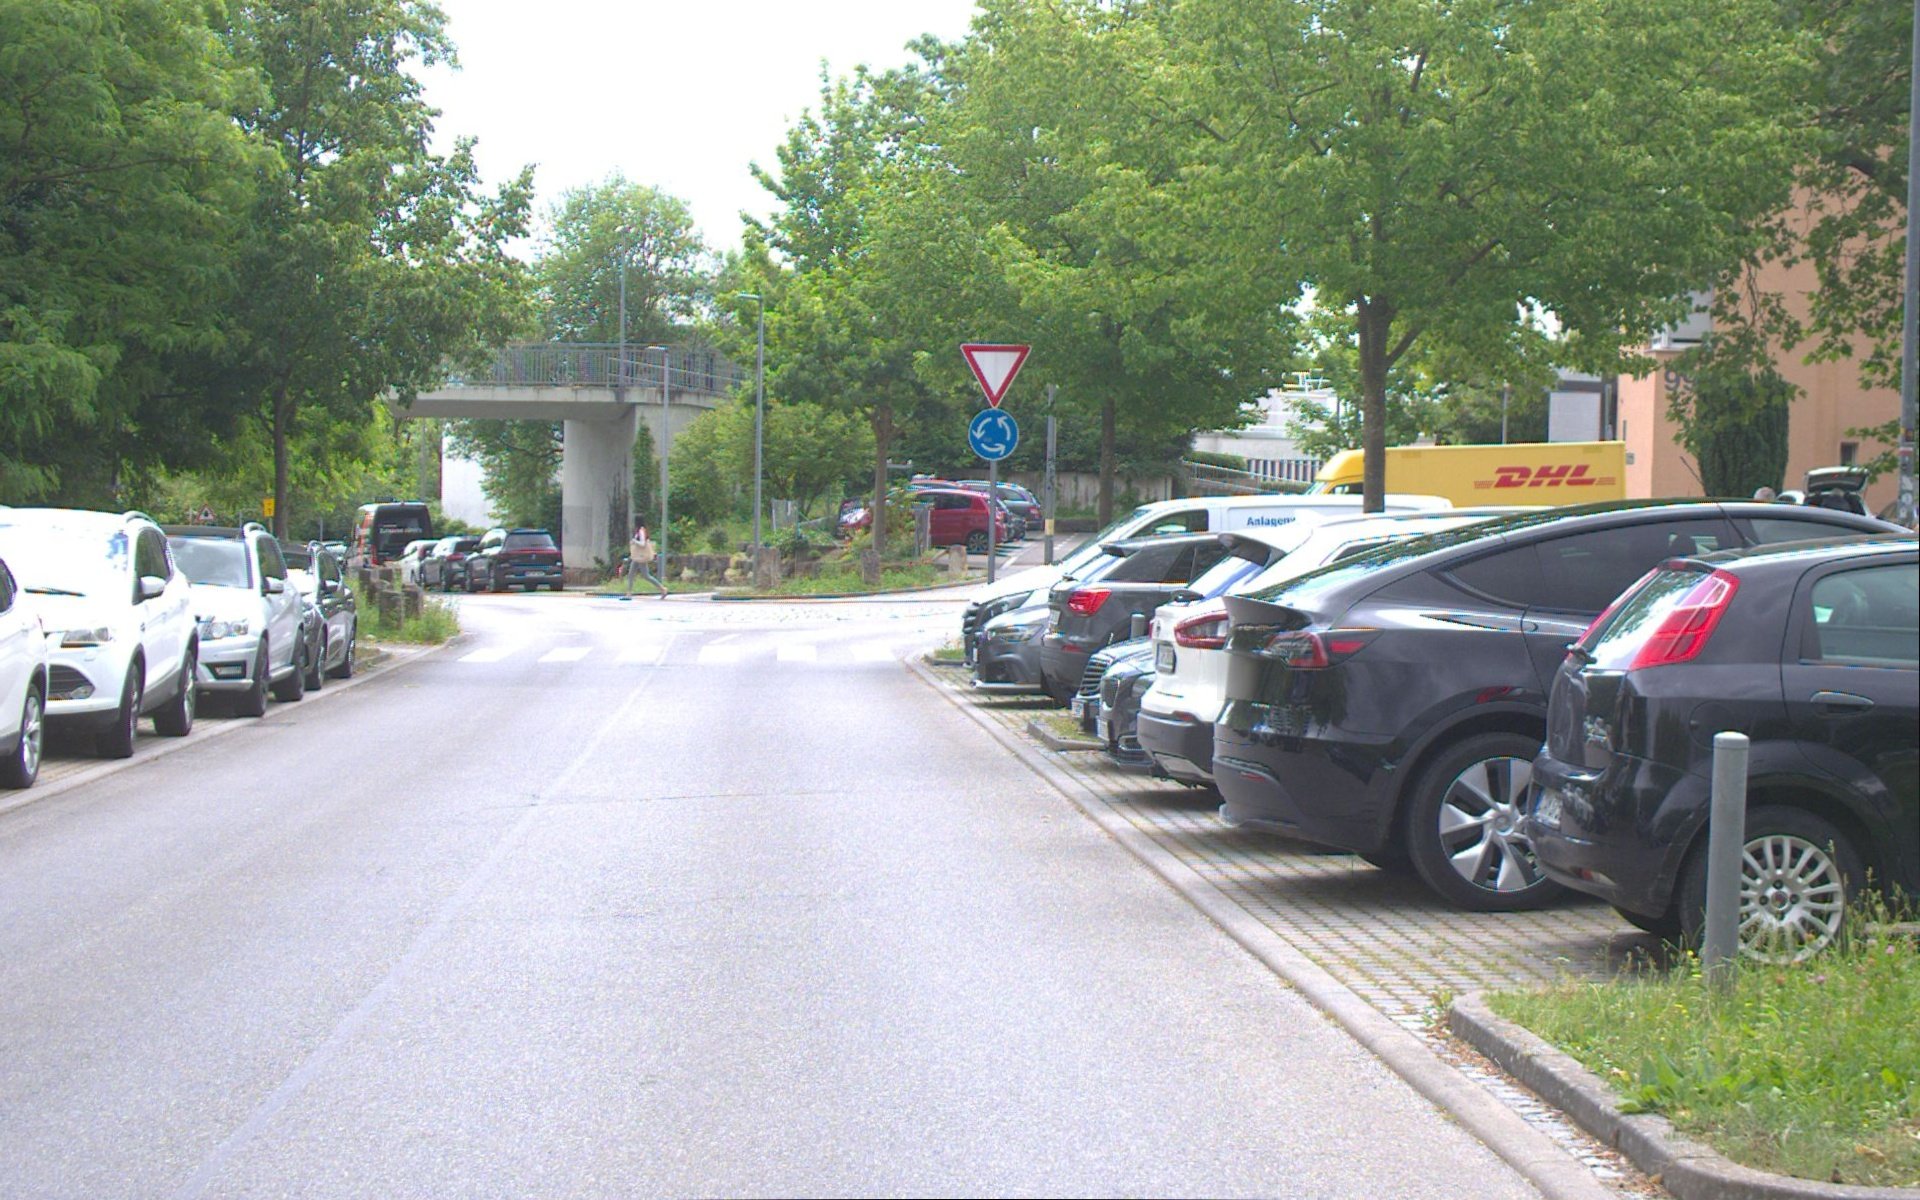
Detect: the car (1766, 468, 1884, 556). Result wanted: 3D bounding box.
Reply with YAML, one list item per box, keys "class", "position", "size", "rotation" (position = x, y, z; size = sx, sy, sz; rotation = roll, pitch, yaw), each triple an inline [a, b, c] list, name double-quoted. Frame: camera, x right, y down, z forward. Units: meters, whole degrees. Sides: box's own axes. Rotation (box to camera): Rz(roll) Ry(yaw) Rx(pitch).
- class: "car"
  position: [17.062, -1.739, 67.938]
  size: [1.568, 1.653, 3.777]
  rotation: [-2, 1, 4]

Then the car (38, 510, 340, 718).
- class: "car"
  position: [-6.780, 0.060, 30.673]
  size: [1.799, 1.610, 4.479]
  rotation: [3, 2, -3]

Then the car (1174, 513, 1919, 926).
- class: "car"
  position: [2.768, 0.441, 14.030]
  size: [3.670, 1.569, 1.593]
  rotation: [0, 2, -1]

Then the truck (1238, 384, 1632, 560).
- class: "truck"
  position: [8.689, -2.328, 63.362]
  size: [6.801, 2.694, 2.474]
  rotation: [3, -4, -1]

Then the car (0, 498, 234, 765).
- class: "car"
  position: [-6.570, 0.146, 24.885]
  size: [1.807, 1.659, 4.437]
  rotation: [3, 2, -3]

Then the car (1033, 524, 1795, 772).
- class: "car"
  position: [2.890, 0.275, 22.439]
  size: [4.574, 1.487, 1.952]
  rotation: [-1, 1, -7]

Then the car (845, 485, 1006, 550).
- class: "car"
  position: [-0.783, -1.921, 80.024]
  size: [3.650, 1.434, 1.684]
  rotation: [1, 2, 3]

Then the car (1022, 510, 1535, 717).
- class: "car"
  position: [2.545, 0.080, 28.027]
  size: [3.824, 1.514, 1.912]
  rotation: [-2, 1, -6]

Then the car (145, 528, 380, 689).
- class: "car"
  position: [-7.247, 0.042, 36.103]
  size: [1.689, 1.460, 4.457]
  rotation: [3, 1, -3]

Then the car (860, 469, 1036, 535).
- class: "car"
  position: [-0.317, -2.567, 90.104]
  size: [4.543, 1.662, 1.945]
  rotation: [1, 2, 0]

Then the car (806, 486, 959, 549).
- class: "car"
  position: [-1.909, -2.048, 85.276]
  size: [3.650, 1.493, 1.684]
  rotation: [1, 2, 3]

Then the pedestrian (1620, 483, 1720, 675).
- class: "pedestrian"
  position: [6.175, -0.187, 29.936]
  size: [0.688, 1.651, 0.600]
  rotation: [1, 1, -4]

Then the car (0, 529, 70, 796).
- class: "car"
  position: [-6.320, 0.349, 19.237]
  size: [1.689, 1.506, 4.231]
  rotation: [3, 2, -3]

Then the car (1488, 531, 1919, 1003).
- class: "car"
  position: [3.782, 0.518, 11.798]
  size: [3.670, 1.493, 1.645]
  rotation: [0, 2, -1]

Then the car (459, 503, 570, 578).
- class: "car"
  position: [-11.537, -1.525, 88.823]
  size: [1.813, 1.673, 4.371]
  rotation: [-1, -2, -21]

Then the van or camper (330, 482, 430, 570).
- class: "van or camper"
  position: [-17.851, -2.252, 105.636]
  size: [1.993, 2.514, 5.472]
  rotation: [-3, 1, -20]

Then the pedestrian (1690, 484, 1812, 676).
- class: "pedestrian"
  position: [6.895, -0.180, 30.002]
  size: [0.869, 1.651, 0.593]
  rotation: [1, 1, -4]

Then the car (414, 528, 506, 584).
- class: "car"
  position: [-13.845, -1.206, 95.004]
  size: [1.699, 1.491, 4.120]
  rotation: [-1, 1, -20]

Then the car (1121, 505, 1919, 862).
- class: "car"
  position: [2.674, 0.361, 16.754]
  size: [3.670, 1.641, 1.852]
  rotation: [0, 2, -1]

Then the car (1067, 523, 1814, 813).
- class: "car"
  position: [2.645, 0.351, 19.527]
  size: [3.987, 1.514, 1.883]
  rotation: [1, 1, 4]

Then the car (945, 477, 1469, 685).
- class: "car"
  position: [2.336, -0.203, 33.278]
  size: [4.773, 1.825, 1.843]
  rotation: [-2, 1, -5]

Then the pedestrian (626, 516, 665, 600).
- class: "pedestrian"
  position: [-6.532, -0.876, 71.476]
  size: [0.658, 1.716, 0.739]
  rotation: [1, 1, 6]

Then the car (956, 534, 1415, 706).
- class: "car"
  position: [1.949, 0.150, 30.477]
  size: [3.824, 1.366, 1.843]
  rotation: [-2, 1, -4]
